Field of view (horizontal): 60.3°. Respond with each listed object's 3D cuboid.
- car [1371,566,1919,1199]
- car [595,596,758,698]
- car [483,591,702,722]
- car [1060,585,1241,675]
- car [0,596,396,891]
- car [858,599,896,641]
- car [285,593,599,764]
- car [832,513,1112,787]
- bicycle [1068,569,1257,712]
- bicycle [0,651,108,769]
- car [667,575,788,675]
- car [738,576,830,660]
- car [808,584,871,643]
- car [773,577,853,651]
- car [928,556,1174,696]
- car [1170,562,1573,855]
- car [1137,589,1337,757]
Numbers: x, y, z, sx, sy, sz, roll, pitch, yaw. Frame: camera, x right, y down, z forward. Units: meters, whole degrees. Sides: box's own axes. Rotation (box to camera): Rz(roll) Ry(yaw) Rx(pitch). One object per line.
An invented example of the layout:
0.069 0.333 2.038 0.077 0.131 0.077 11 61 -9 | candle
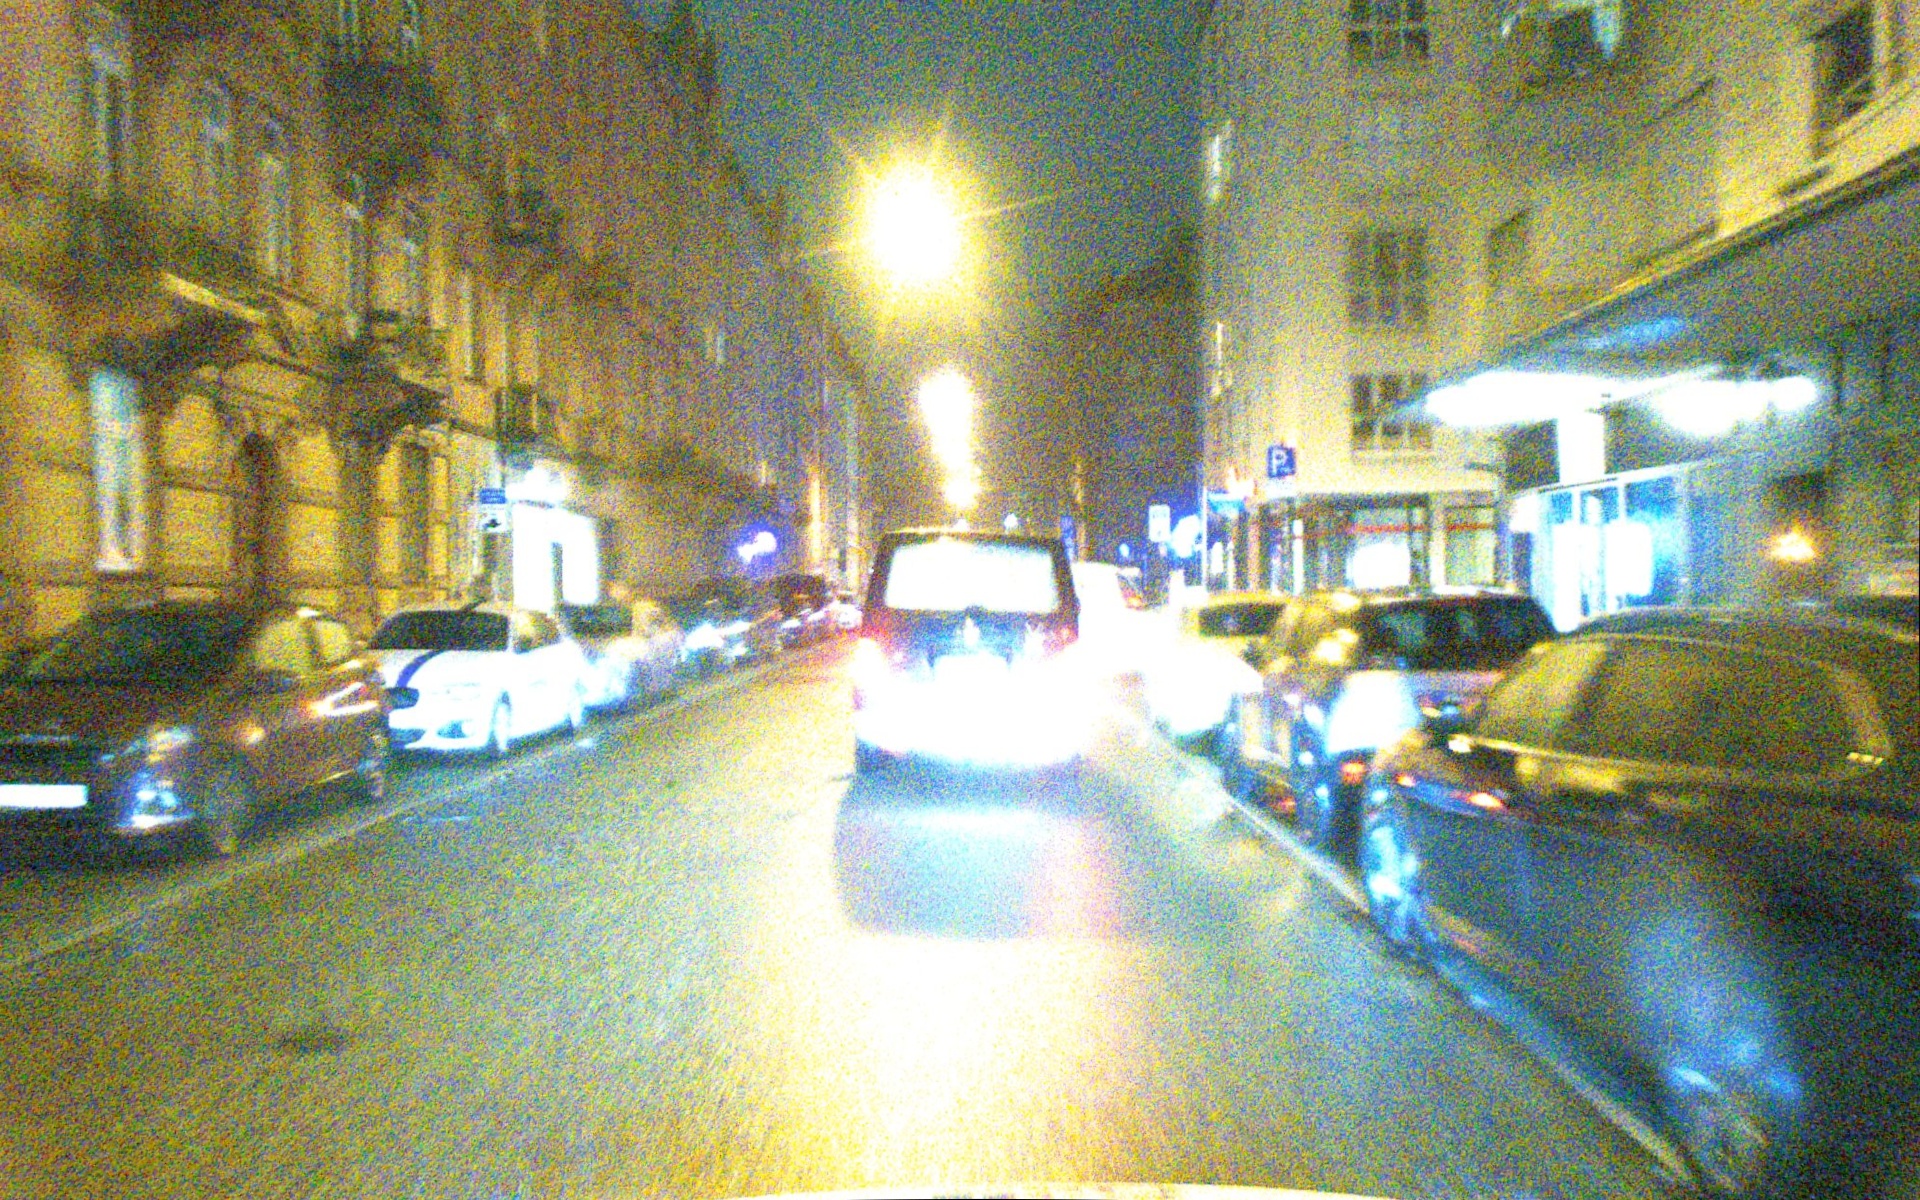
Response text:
2.704 0.744 5.121 1.717 1.565 4.397 1 -1 -1 | car
-4.479 0.708 26.702 1.953 1.474 3.999 1 0 -1 | car
-4.702 0.657 21.819 1.717 1.474 4.624 2 1 1 | car
4.610 0.719 40.257 3.922 2.049 1.991 -1 -1 -16 | car
-4.883 0.729 10.202 1.553 1.474 3.503 0 0 1 | car
-4.219 1.010 84.534 1.713 2.049 4.000 1 0 0 | car
-4.866 0.654 16.193 1.655 1.425 4.317 0 1 1 | car
-0.001 0.356 14.554 2.080 2.026 4.598 0 0 -3 | car
2.623 0.521 21.674 2.273 1.667 0.888 -4 -1 1 | bicycle
-8.306 0.959 14.654 0.440 0.975 2.014 -1 -1 1 | bicycle
-4.715 0.491 34.095 1.953 1.895 4.093 1 0 -1 | car
-4.536 0.442 43.202 1.953 2.049 3.999 1 0 -1 | car
-4.359 0.486 60.355 1.953 2.049 4.000 1 0 0 | car
-4.300 0.409 48.946 1.953 2.049 4.000 1 0 0 | car
1.545 0.337 25.826 2.081 1.956 4.821 1 1 27 | car
2.582 0.635 11.341 1.717 1.636 3.989 1 -1 -1 | car
2.804 0.703 17.344 1.559 1.570 3.420 1 -1 1 | car
